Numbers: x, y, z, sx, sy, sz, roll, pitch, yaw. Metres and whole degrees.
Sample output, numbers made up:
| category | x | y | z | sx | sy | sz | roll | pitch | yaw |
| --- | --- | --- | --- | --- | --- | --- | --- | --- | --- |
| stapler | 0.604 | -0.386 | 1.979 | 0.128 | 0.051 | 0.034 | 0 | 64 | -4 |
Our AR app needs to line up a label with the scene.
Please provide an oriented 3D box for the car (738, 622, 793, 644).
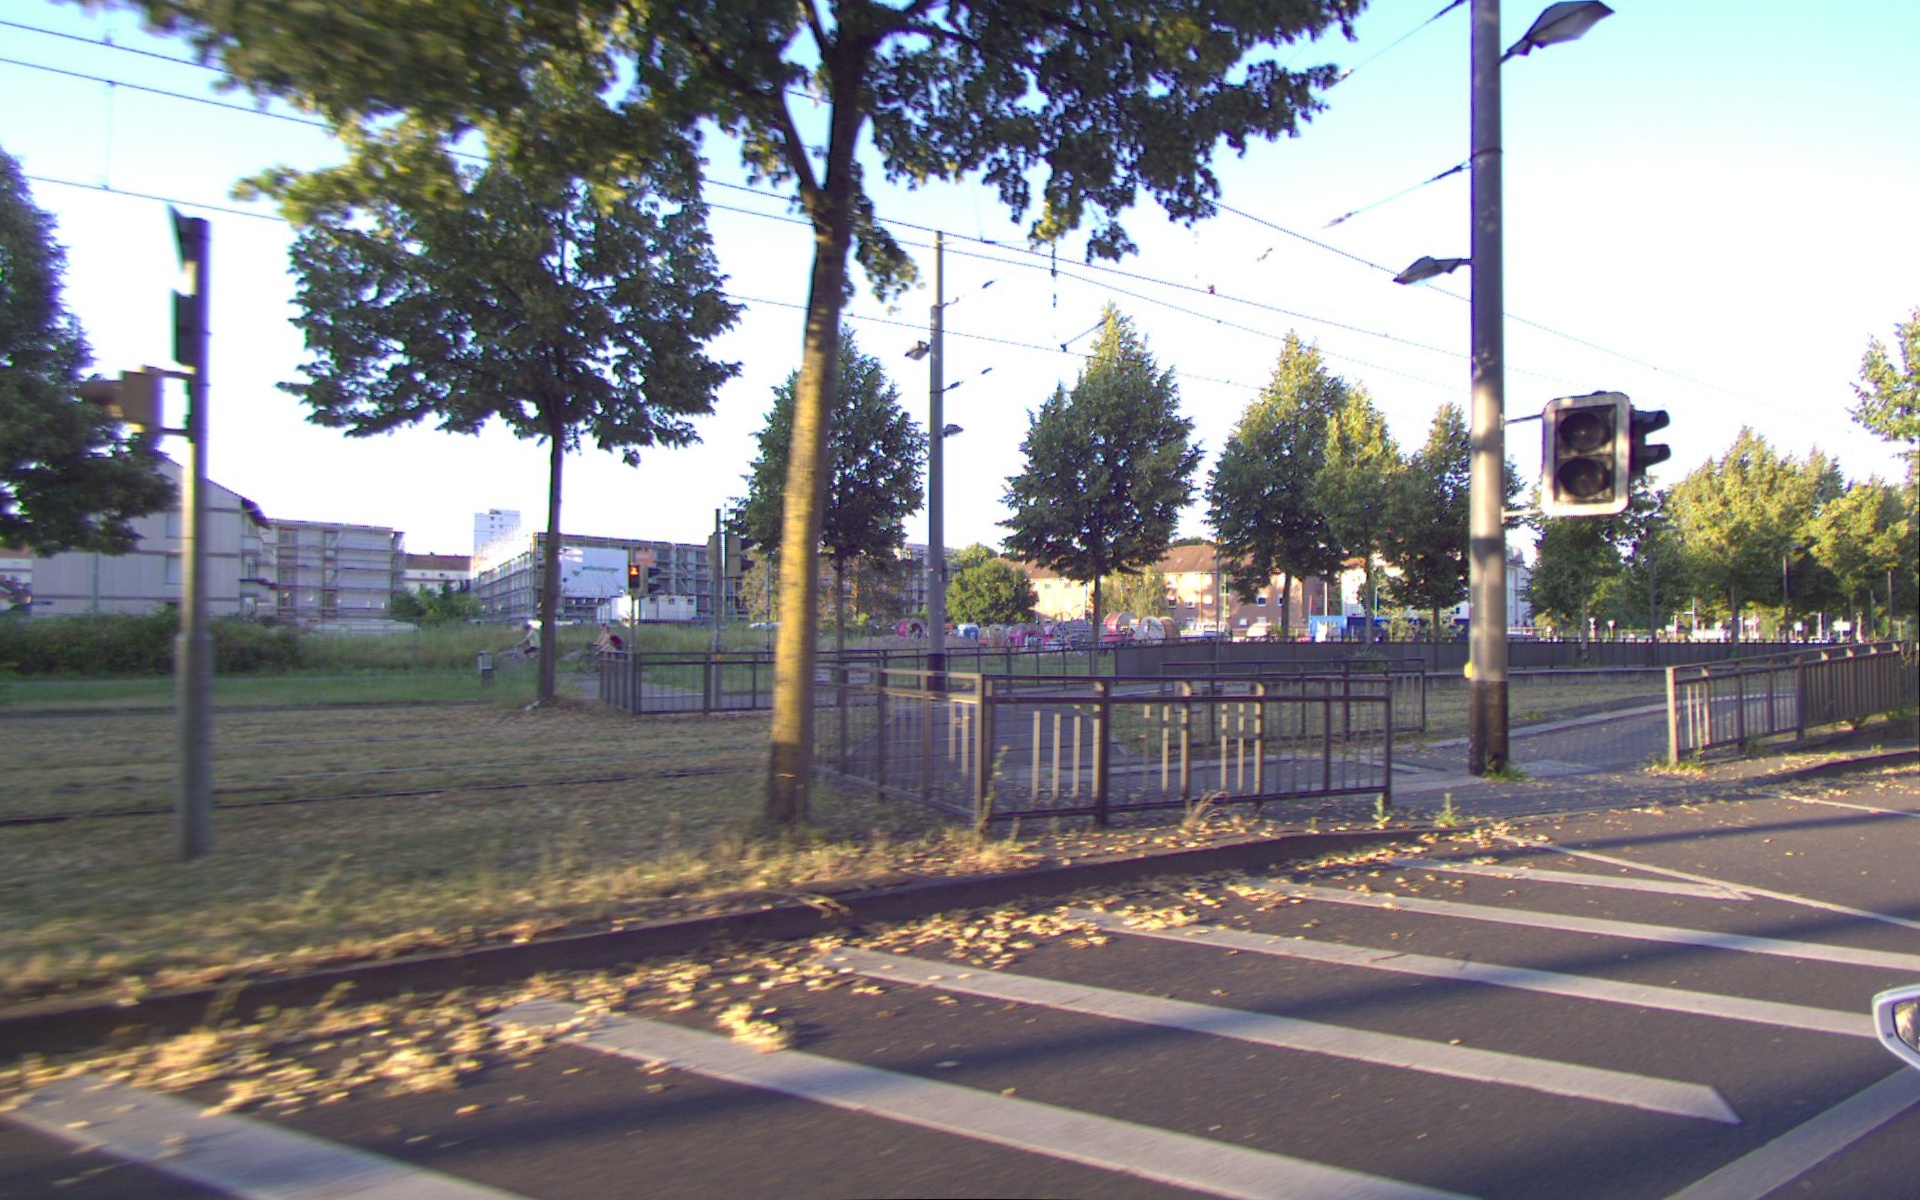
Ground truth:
| category | x | y | z | sx | sy | sz | roll | pitch | yaw |
| --- | --- | --- | --- | --- | --- | --- | --- | --- | --- |
| car | -18.580 | 3.160 | 95.984 | 4.760 | 2.040 | 1.979 | 2 | -2 | -37 |

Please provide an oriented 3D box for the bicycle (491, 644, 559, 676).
| category | x | y | z | sx | sy | sz | roll | pitch | yaw |
| --- | --- | --- | --- | --- | --- | --- | --- | --- | --- |
| bicycle | -14.705 | 2.024 | 33.974 | 2.060 | 1.024 | 0.616 | 1 | -2 | -32 |

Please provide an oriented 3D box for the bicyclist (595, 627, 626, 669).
| category | x | y | z | sx | sy | sz | roll | pitch | yaw |
| --- | --- | --- | --- | --- | --- | --- | --- | --- | --- |
| bicyclist | -12.389 | 1.697 | 35.590 | 0.927 | 1.475 | 0.616 | 1 | -2 | -32 |

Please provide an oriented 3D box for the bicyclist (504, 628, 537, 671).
| category | x | y | z | sx | sy | sz | roll | pitch | yaw |
| --- | --- | --- | --- | --- | --- | --- | --- | --- | --- |
| bicyclist | -14.823 | 1.658 | 33.904 | 0.927 | 1.440 | 0.616 | 1 | -2 | -32 |

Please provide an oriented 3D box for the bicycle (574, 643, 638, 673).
| category | x | y | z | sx | sy | sz | roll | pitch | yaw |
| --- | --- | --- | --- | --- | --- | --- | --- | --- | --- |
| bicycle | -12.496 | 2.049 | 35.477 | 2.060 | 1.024 | 0.616 | 1 | -2 | -32 |

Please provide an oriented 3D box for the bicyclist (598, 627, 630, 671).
| category | x | y | z | sx | sy | sz | roll | pitch | yaw |
| --- | --- | --- | --- | --- | --- | --- | --- | --- | --- |
| bicyclist | -11.761 | 1.650 | 34.158 | 0.927 | 1.475 | 0.616 | 1 | -2 | -32 |

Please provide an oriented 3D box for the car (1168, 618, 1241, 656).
| category | x | y | z | sx | sy | sz | roll | pitch | yaw |
| --- | --- | --- | --- | --- | --- | --- | --- | --- | --- |
| car | 15.318 | 2.299 | 62.573 | 2.384 | 2.254 | 5.898 | -1 | -2 | 36 |

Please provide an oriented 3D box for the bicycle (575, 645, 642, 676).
| category | x | y | z | sx | sy | sz | roll | pitch | yaw |
| --- | --- | --- | --- | --- | --- | --- | --- | --- | --- |
| bicycle | -11.910 | 2.044 | 34.048 | 2.060 | 1.024 | 0.616 | 1 | -2 | -32 |
